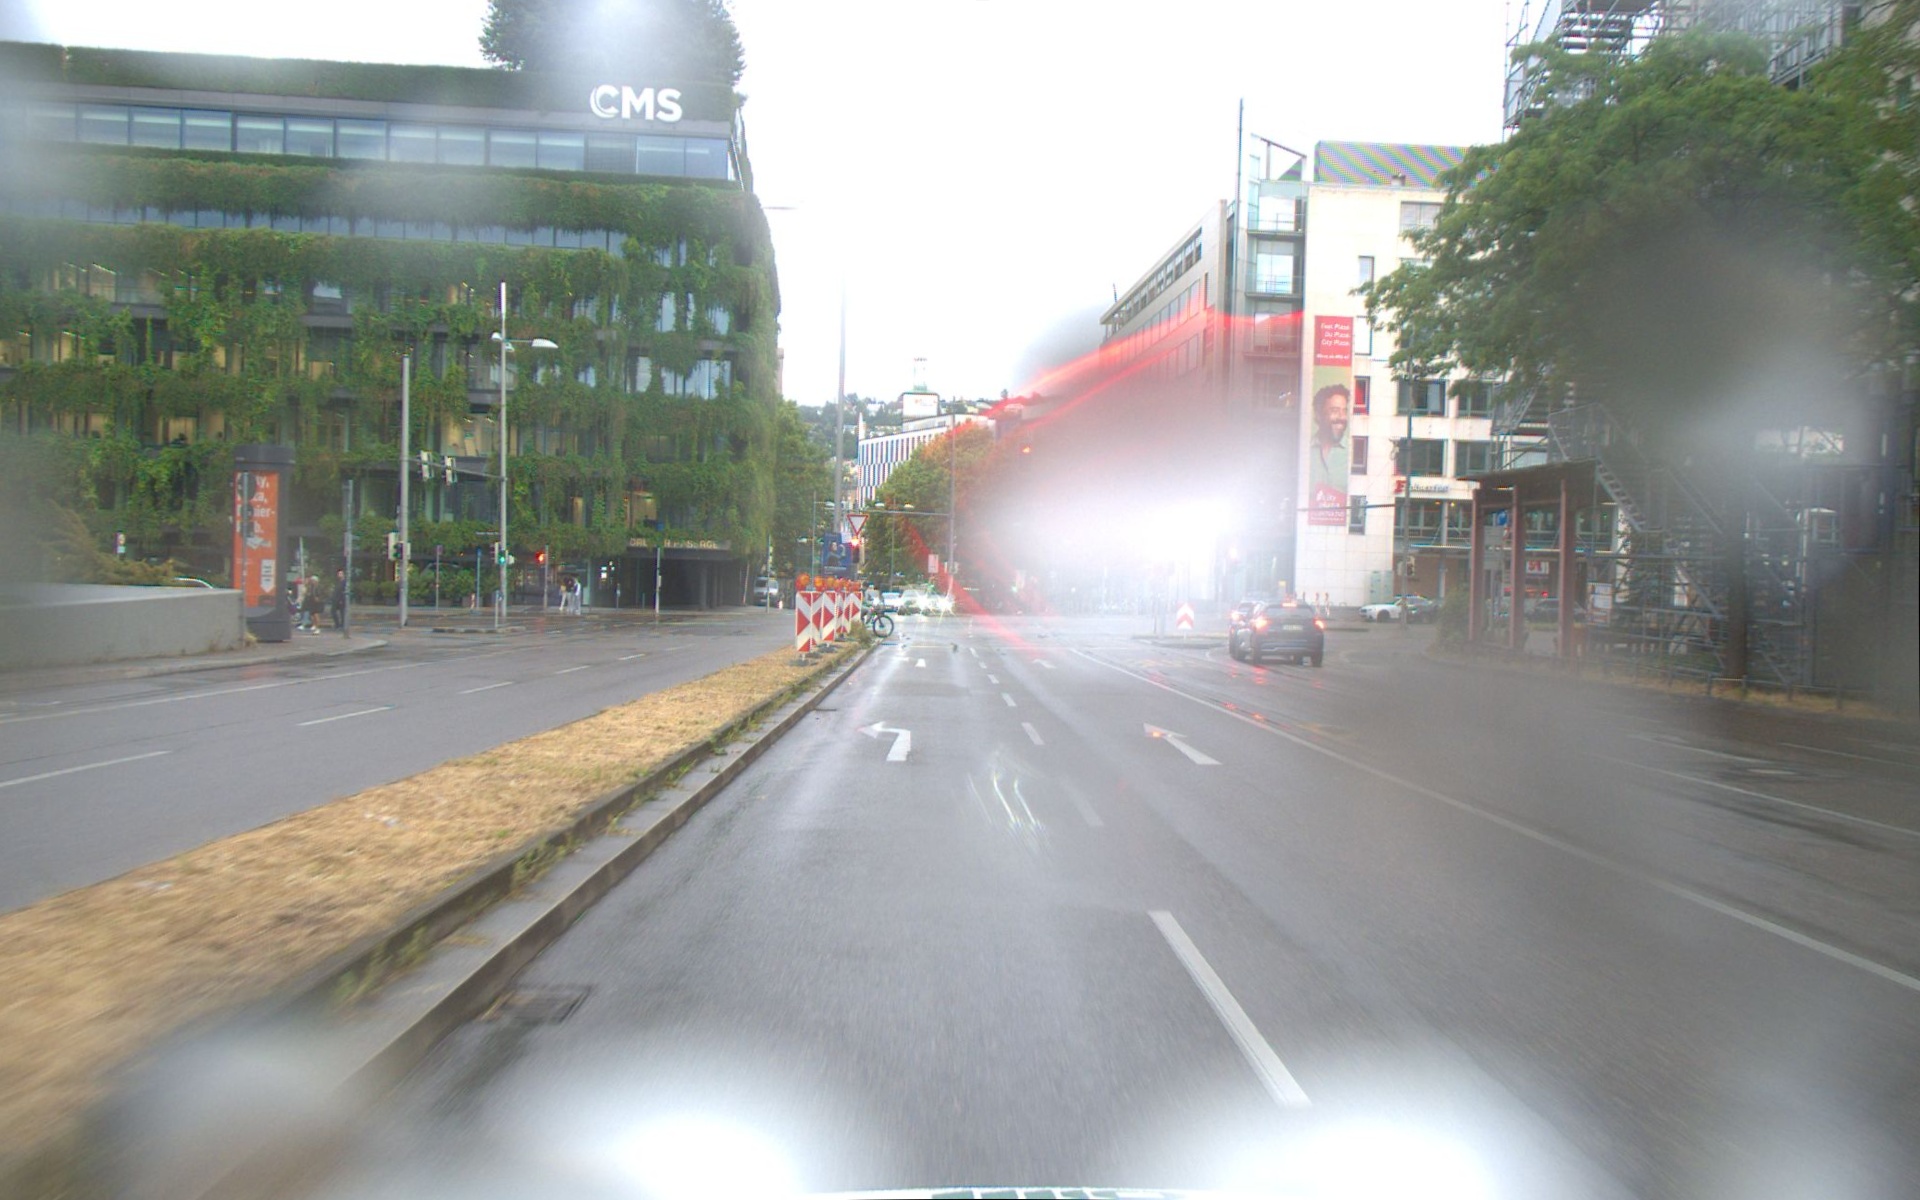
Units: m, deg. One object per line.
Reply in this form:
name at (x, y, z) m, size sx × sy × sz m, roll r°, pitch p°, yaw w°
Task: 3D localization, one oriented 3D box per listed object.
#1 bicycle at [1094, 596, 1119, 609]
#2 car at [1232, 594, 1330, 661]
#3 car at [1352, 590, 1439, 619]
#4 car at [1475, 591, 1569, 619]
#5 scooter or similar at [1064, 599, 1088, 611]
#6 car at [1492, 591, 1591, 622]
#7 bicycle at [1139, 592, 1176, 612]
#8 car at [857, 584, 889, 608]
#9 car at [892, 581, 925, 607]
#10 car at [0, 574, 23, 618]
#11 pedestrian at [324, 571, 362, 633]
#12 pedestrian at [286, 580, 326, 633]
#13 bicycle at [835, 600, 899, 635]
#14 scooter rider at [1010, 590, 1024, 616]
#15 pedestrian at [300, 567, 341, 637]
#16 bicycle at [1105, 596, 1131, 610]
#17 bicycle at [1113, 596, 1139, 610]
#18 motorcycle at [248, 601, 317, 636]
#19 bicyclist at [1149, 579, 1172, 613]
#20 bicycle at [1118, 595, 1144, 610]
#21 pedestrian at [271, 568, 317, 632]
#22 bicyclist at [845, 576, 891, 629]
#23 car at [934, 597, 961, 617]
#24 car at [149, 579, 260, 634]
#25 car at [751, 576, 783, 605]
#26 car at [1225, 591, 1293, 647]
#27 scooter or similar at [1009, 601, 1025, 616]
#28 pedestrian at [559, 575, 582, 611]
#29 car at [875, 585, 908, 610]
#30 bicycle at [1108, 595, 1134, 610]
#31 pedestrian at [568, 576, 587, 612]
bicycle at (10.389, 0.173, 117.224) m, size 1.757 × 0.950 × 0.475 m, roll 1°, pitch 0°, yaw 2°
car at (7.998, 0.654, 41.548) m, size 1.741 × 1.567 × 4.147 m, roll 1°, pitch 0°, yaw 1°
car at (24.748, 0.249, 93.981) m, size 4.377 × 1.626 × 1.992 m, roll 0°, pitch 0°, yaw -16°
car at (28.720, 0.246, 84.541) m, size 4.377 × 1.372 × 1.716 m, roll 0°, pitch 0°, yaw -16°
scooter or similar at (8.714, 0.404, 124.411) m, size 1.720 × 0.894 × 0.486 m, roll 0°, pitch 0°, yaw -20°
car at (28.656, 0.315, 81.501) m, size 4.374 × 1.489 × 1.717 m, roll 0°, pitch 0°, yaw -14°
bicycle at (11.659, 0.128, 97.628) m, size 0.787 × 1.136 × 2.222 m, roll 1°, pitch 0°, yaw -41°
car at (-5.743, -0.293, 108.627) m, size 1.821 × 1.473 × 4.614 m, roll 0°, pitch 1°, yaw -7°
car at (-3.214, -0.368, 102.673) m, size 1.954 × 1.577 × 4.553 m, roll 0°, pitch 0°, yaw -3°
car at (-36.192, -0.164, 59.566) m, size 3.825 × 1.550 × 1.865 m, roll 0°, pitch 0°, yaw -14°
pedestrian at (-19.574, 0.060, 52.504) m, size 0.768 × 1.918 × 0.898 m, roll -3°, pitch 1°, yaw 0°
pedestrian at (-20.669, 0.195, 52.307) m, size 0.815 × 1.612 × 0.922 m, roll -3°, pitch 1°, yaw -2°
bicycle at (-3.053, 0.573, 54.363) m, size 0.833 × 1.122 × 2.140 m, roll 1°, pitch 0°, yaw 41°
scooter rider at (3.939, 0.205, 115.081) m, size 0.750 × 1.805 × 0.792 m, roll 0°, pitch 0°, yaw -18°
pedestrian at (-18.103, 0.049, 46.806) m, size 0.790 × 1.918 × 0.865 m, roll -3°, pitch 1°, yaw -7°
bicycle at (11.029, 0.181, 115.384) m, size 1.757 × 0.950 × 0.475 m, roll 1°, pitch 0°, yaw 2°
bicycle at (11.162, 0.197, 111.058) m, size 1.767 × 0.950 × 0.473 m, roll 1°, pitch 0°, yaw 41°
motorcycle at (-24.362, 0.656, 59.521) m, size 2.192 × 1.232 × 0.844 m, roll 0°, pitch 0°, yaw -17°
bicyclist at (11.806, -0.220, 97.470) m, size 0.787 × 2.009 × 1.097 m, roll 1°, pitch 0°, yaw -41°
bicycle at (11.307, 0.162, 109.349) m, size 1.767 × 0.950 × 0.473 m, roll 1°, pitch 0°, yaw 41°
pedestrian at (-20.429, -0.004, 50.769) m, size 1.002 × 1.886 × 0.876 m, roll -3°, pitch 1°, yaw -5°
bicyclist at (-3.027, 0.076, 54.407) m, size 0.833 × 1.733 × 1.291 m, roll 1°, pitch 0°, yaw 41°
car at (-1.071, 0.550, 135.507) m, size 1.954 × 1.469 × 4.553 m, roll 0°, pitch 1°, yaw -4°
car at (-28.011, 0.234, 61.410) m, size 3.390 × 1.955 × 1.993 m, roll 0°, pitch 0°, yaw -14°
car at (-13.109, -0.652, 112.478) m, size 1.954 × 1.928 × 4.461 m, roll 1°, pitch 0°, yaw -5°
car at (8.834, 0.523, 48.670) m, size 1.667 × 1.556 × 4.430 m, roll 1°, pitch 0°, yaw 14°
scooter or similar at (3.935, 0.601, 115.108) m, size 0.547 × 1.024 × 1.815 m, roll 0°, pitch 0°, yaw -18°
pedestrian at (-19.508, -0.354, 82.861) m, size 0.923 × 1.788 × 1.163 m, roll 0°, pitch 0°, yaw -24°
car at (-5.214, -0.202, 124.845) m, size 2.133 × 1.855 × 4.637 m, roll 0°, pitch 0°, yaw -6°
bicycle at (10.559, 0.161, 108.697) m, size 1.767 × 0.950 × 0.473 m, roll 1°, pitch 0°, yaw 41°
pedestrian at (-19.227, -0.291, 83.132) m, size 0.731 × 1.788 × 0.969 m, roll 0°, pitch 0°, yaw -24°
